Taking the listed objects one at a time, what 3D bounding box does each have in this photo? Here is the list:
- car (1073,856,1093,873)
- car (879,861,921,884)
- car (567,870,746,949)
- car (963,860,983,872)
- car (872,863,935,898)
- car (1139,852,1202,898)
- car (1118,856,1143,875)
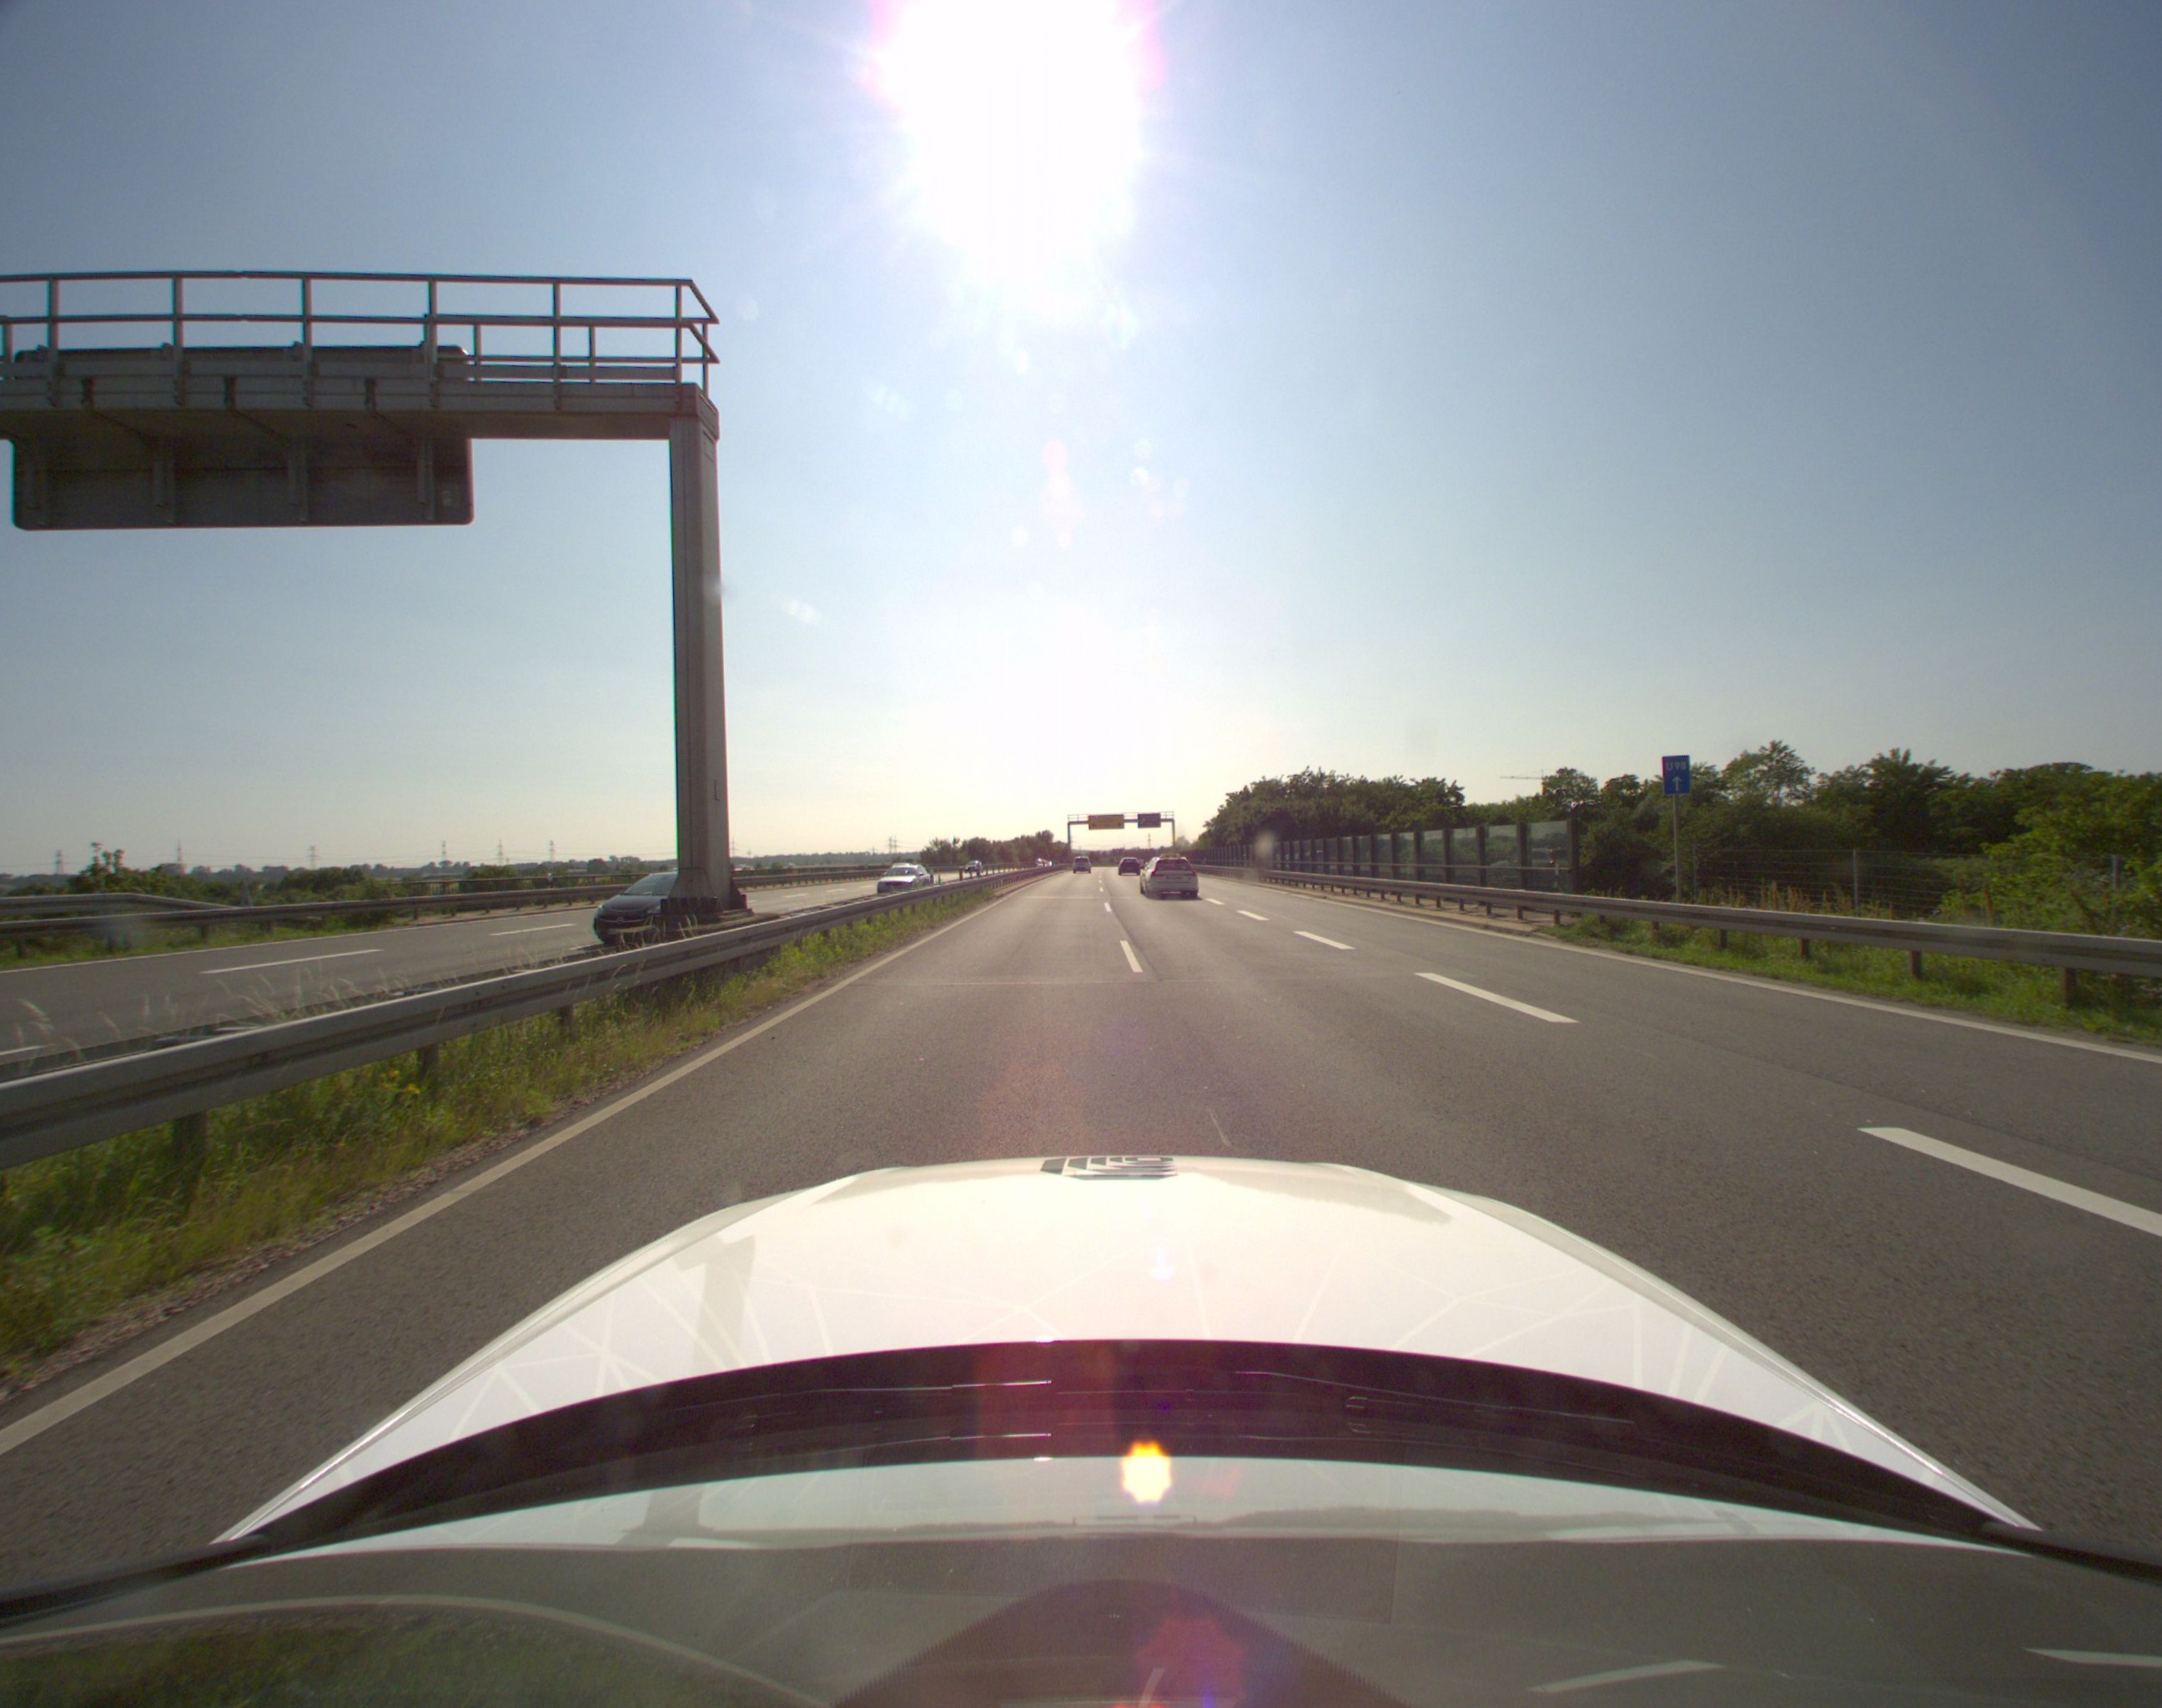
[{"bbox_3d":[0.185,0.959,76.561,1.787,1.503,4.044,-1,-1,1],"label":"car"},{"bbox_3d":[-11.908,1.186,53.898,1.819,1.428,4.530,-1,0,-1],"label":"car"},{"bbox_3d":[-9.175,1.128,18.022,1.789,1.473,4.001,0,0,1],"label":"car"},{"bbox_3d":[-12.980,1.479,98.022,1.773,1.384,4.000,0,0,1],"label":"car"},{"bbox_3d":[-7.933,1.162,36.763,1.868,1.438,4.501,0,0,0],"label":"car"},{"bbox_3d":[3.250,0.717,30.456,1.952,1.601,4.107,0,0,0],"label":"car"},{"bbox_3d":[3.991,0.925,66.336,1.787,1.543,3.670,0,-1,0],"label":"car"}]
